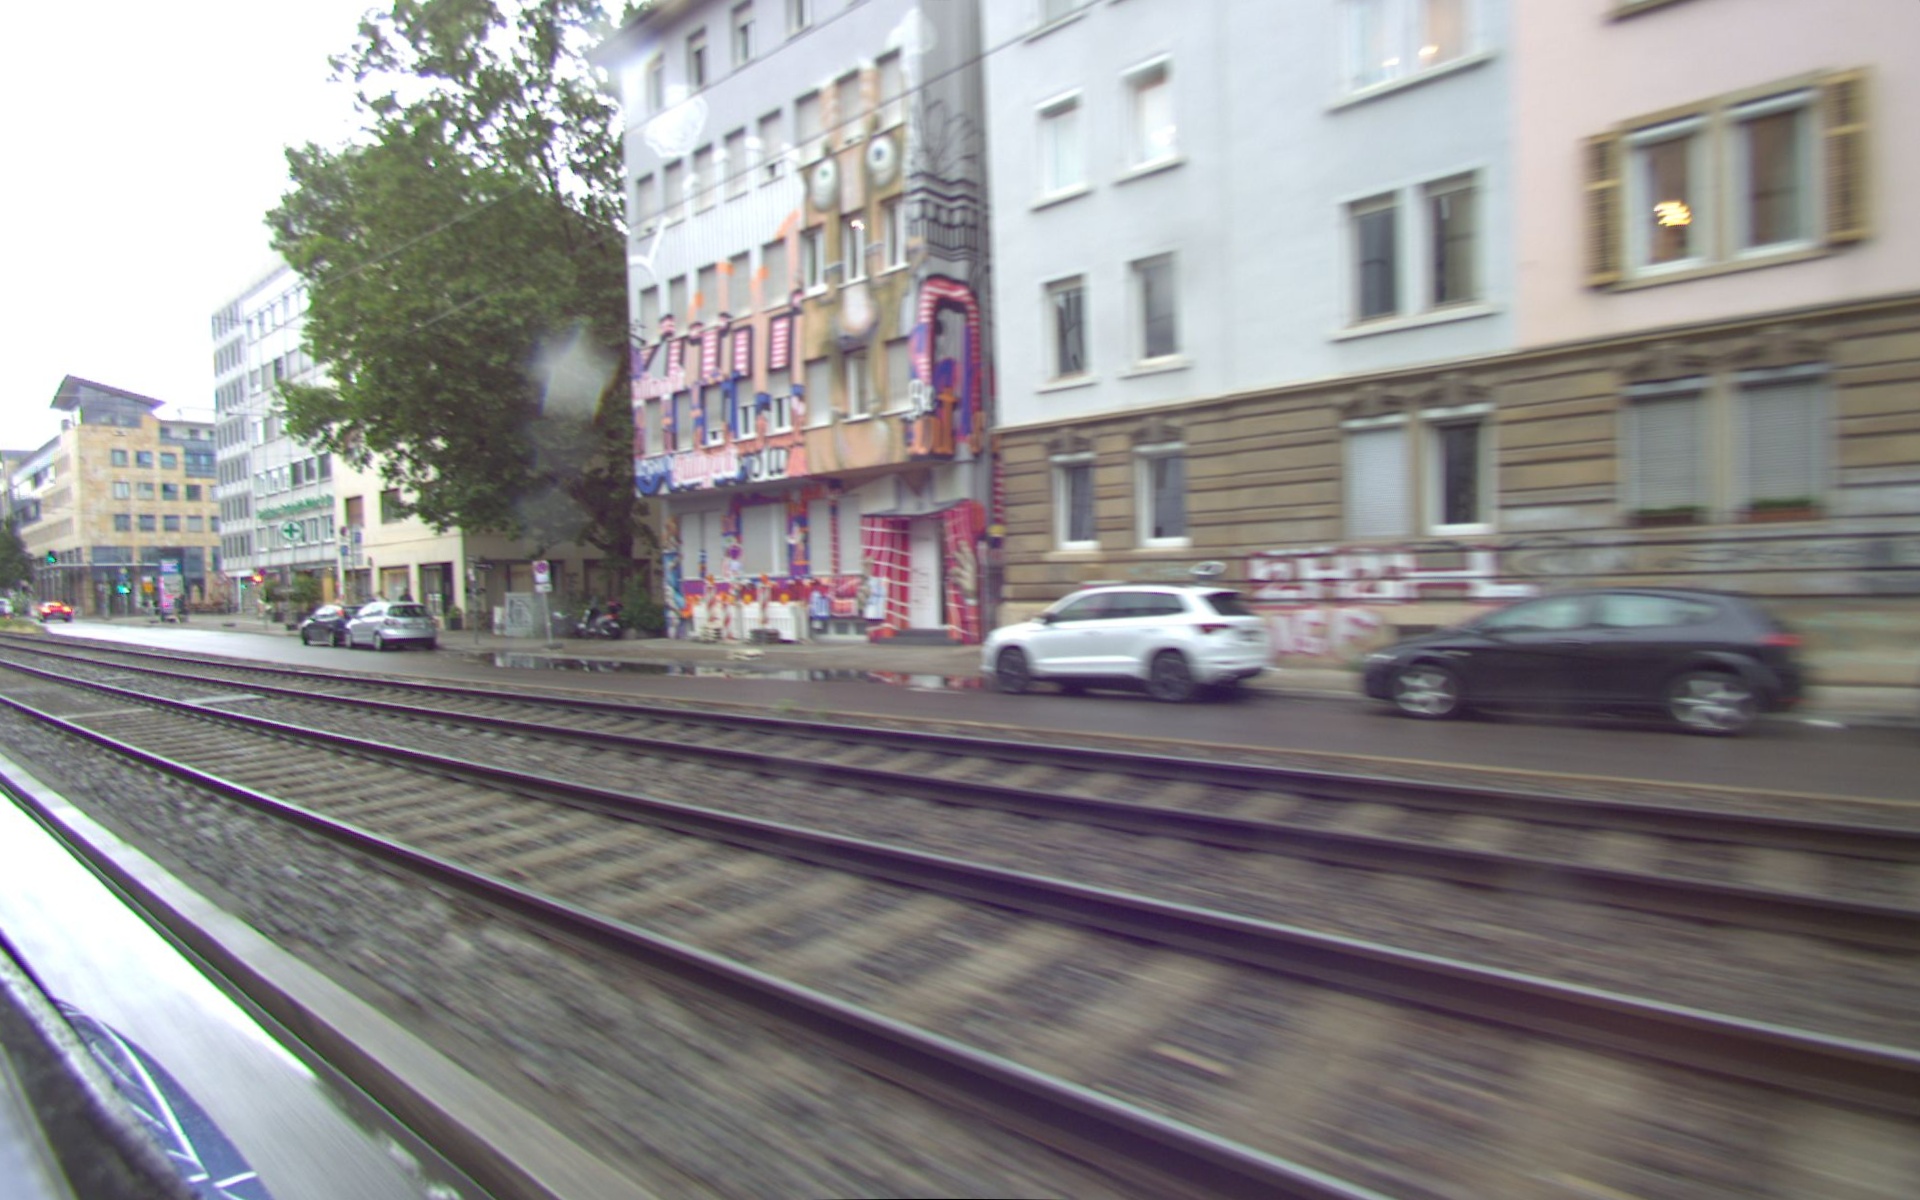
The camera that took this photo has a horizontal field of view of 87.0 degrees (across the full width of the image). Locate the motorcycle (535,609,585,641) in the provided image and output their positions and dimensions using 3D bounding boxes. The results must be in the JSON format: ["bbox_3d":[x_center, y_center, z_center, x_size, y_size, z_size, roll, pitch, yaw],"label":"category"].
[{"bbox_3d":[-13.854,0.864,35.036,2.117,1.040,0.633,-1,2,39],"label":"motorcycle"}]

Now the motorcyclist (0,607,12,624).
[{"bbox_3d":[-73.619,1.197,77.940,0.970,1.226,0.734,0,2,42],"label":"motorcyclist"}]

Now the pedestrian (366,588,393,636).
[{"bbox_3d":[-23.441,0.483,40.837,0.742,1.910,0.671,0,2,41],"label":"pedestrian"}]

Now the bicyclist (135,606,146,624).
[{"bbox_3d":[-83.660,1.518,103.289,0.783,1.818,0.701,-1,2,40],"label":"bicyclist"}]

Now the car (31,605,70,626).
[{"bbox_3d":[-72.390,1.199,80.535,4.445,1.530,1.972,0,2,44],"label":"car"}]

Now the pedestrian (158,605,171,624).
[{"bbox_3d":[-74.017,1.343,94.162,0.667,1.794,0.705,-2,1,-15],"label":"pedestrian"}]

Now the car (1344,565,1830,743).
[{"bbox_3d":[6.634,0.455,10.974,4.206,1.530,1.973,0,2,41],"label":"car"}]

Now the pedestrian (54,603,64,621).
[{"bbox_3d":[-94.197,1.280,105.793,0.679,1.828,0.693,-1,1,43],"label":"pedestrian"}]

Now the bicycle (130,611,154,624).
[{"bbox_3d":[-83.570,1.779,103.363,0.659,1.320,1.746,-1,1,39],"label":"bicycle"}]

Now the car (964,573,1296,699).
[{"bbox_3d":[2.390,0.445,14.884,4.432,1.530,1.973,0,2,41],"label":"car"}]

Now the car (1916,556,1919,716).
[{"bbox_3d":[10.617,0.362,7.516,4.989,1.530,1.973,0,2,41],"label":"car"}]

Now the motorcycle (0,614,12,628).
[{"bbox_3d":[-73.621,1.617,77.958,1.931,1.067,0.734,0,2,43],"label":"motorcycle"}]

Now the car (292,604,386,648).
[{"bbox_3d":[-22.630,0.916,36.822,4.217,1.480,1.726,0,0,41],"label":"car"}]

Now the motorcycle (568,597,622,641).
[{"bbox_3d":[-11.963,0.618,33.138,2.117,1.389,0.633,-1,2,39],"label":"motorcycle"}]

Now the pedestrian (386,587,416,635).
[{"bbox_3d":[-22.860,0.439,41.389,0.982,1.910,0.720,0,2,41],"label":"pedestrian"}]

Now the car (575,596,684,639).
[{"bbox_3d":[-12.109,0.632,37.020,3.997,1.465,1.974,-1,0,40],"label":"car"}]

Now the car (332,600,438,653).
[{"bbox_3d":[-19.138,0.850,33.602,4.217,1.582,1.704,0,2,41],"label":"car"}]

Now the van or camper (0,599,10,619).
[{"bbox_3d":[-102.639,0.981,107.481,5.195,2.012,1.996,1,3,41],"label":"van or camper"}]
